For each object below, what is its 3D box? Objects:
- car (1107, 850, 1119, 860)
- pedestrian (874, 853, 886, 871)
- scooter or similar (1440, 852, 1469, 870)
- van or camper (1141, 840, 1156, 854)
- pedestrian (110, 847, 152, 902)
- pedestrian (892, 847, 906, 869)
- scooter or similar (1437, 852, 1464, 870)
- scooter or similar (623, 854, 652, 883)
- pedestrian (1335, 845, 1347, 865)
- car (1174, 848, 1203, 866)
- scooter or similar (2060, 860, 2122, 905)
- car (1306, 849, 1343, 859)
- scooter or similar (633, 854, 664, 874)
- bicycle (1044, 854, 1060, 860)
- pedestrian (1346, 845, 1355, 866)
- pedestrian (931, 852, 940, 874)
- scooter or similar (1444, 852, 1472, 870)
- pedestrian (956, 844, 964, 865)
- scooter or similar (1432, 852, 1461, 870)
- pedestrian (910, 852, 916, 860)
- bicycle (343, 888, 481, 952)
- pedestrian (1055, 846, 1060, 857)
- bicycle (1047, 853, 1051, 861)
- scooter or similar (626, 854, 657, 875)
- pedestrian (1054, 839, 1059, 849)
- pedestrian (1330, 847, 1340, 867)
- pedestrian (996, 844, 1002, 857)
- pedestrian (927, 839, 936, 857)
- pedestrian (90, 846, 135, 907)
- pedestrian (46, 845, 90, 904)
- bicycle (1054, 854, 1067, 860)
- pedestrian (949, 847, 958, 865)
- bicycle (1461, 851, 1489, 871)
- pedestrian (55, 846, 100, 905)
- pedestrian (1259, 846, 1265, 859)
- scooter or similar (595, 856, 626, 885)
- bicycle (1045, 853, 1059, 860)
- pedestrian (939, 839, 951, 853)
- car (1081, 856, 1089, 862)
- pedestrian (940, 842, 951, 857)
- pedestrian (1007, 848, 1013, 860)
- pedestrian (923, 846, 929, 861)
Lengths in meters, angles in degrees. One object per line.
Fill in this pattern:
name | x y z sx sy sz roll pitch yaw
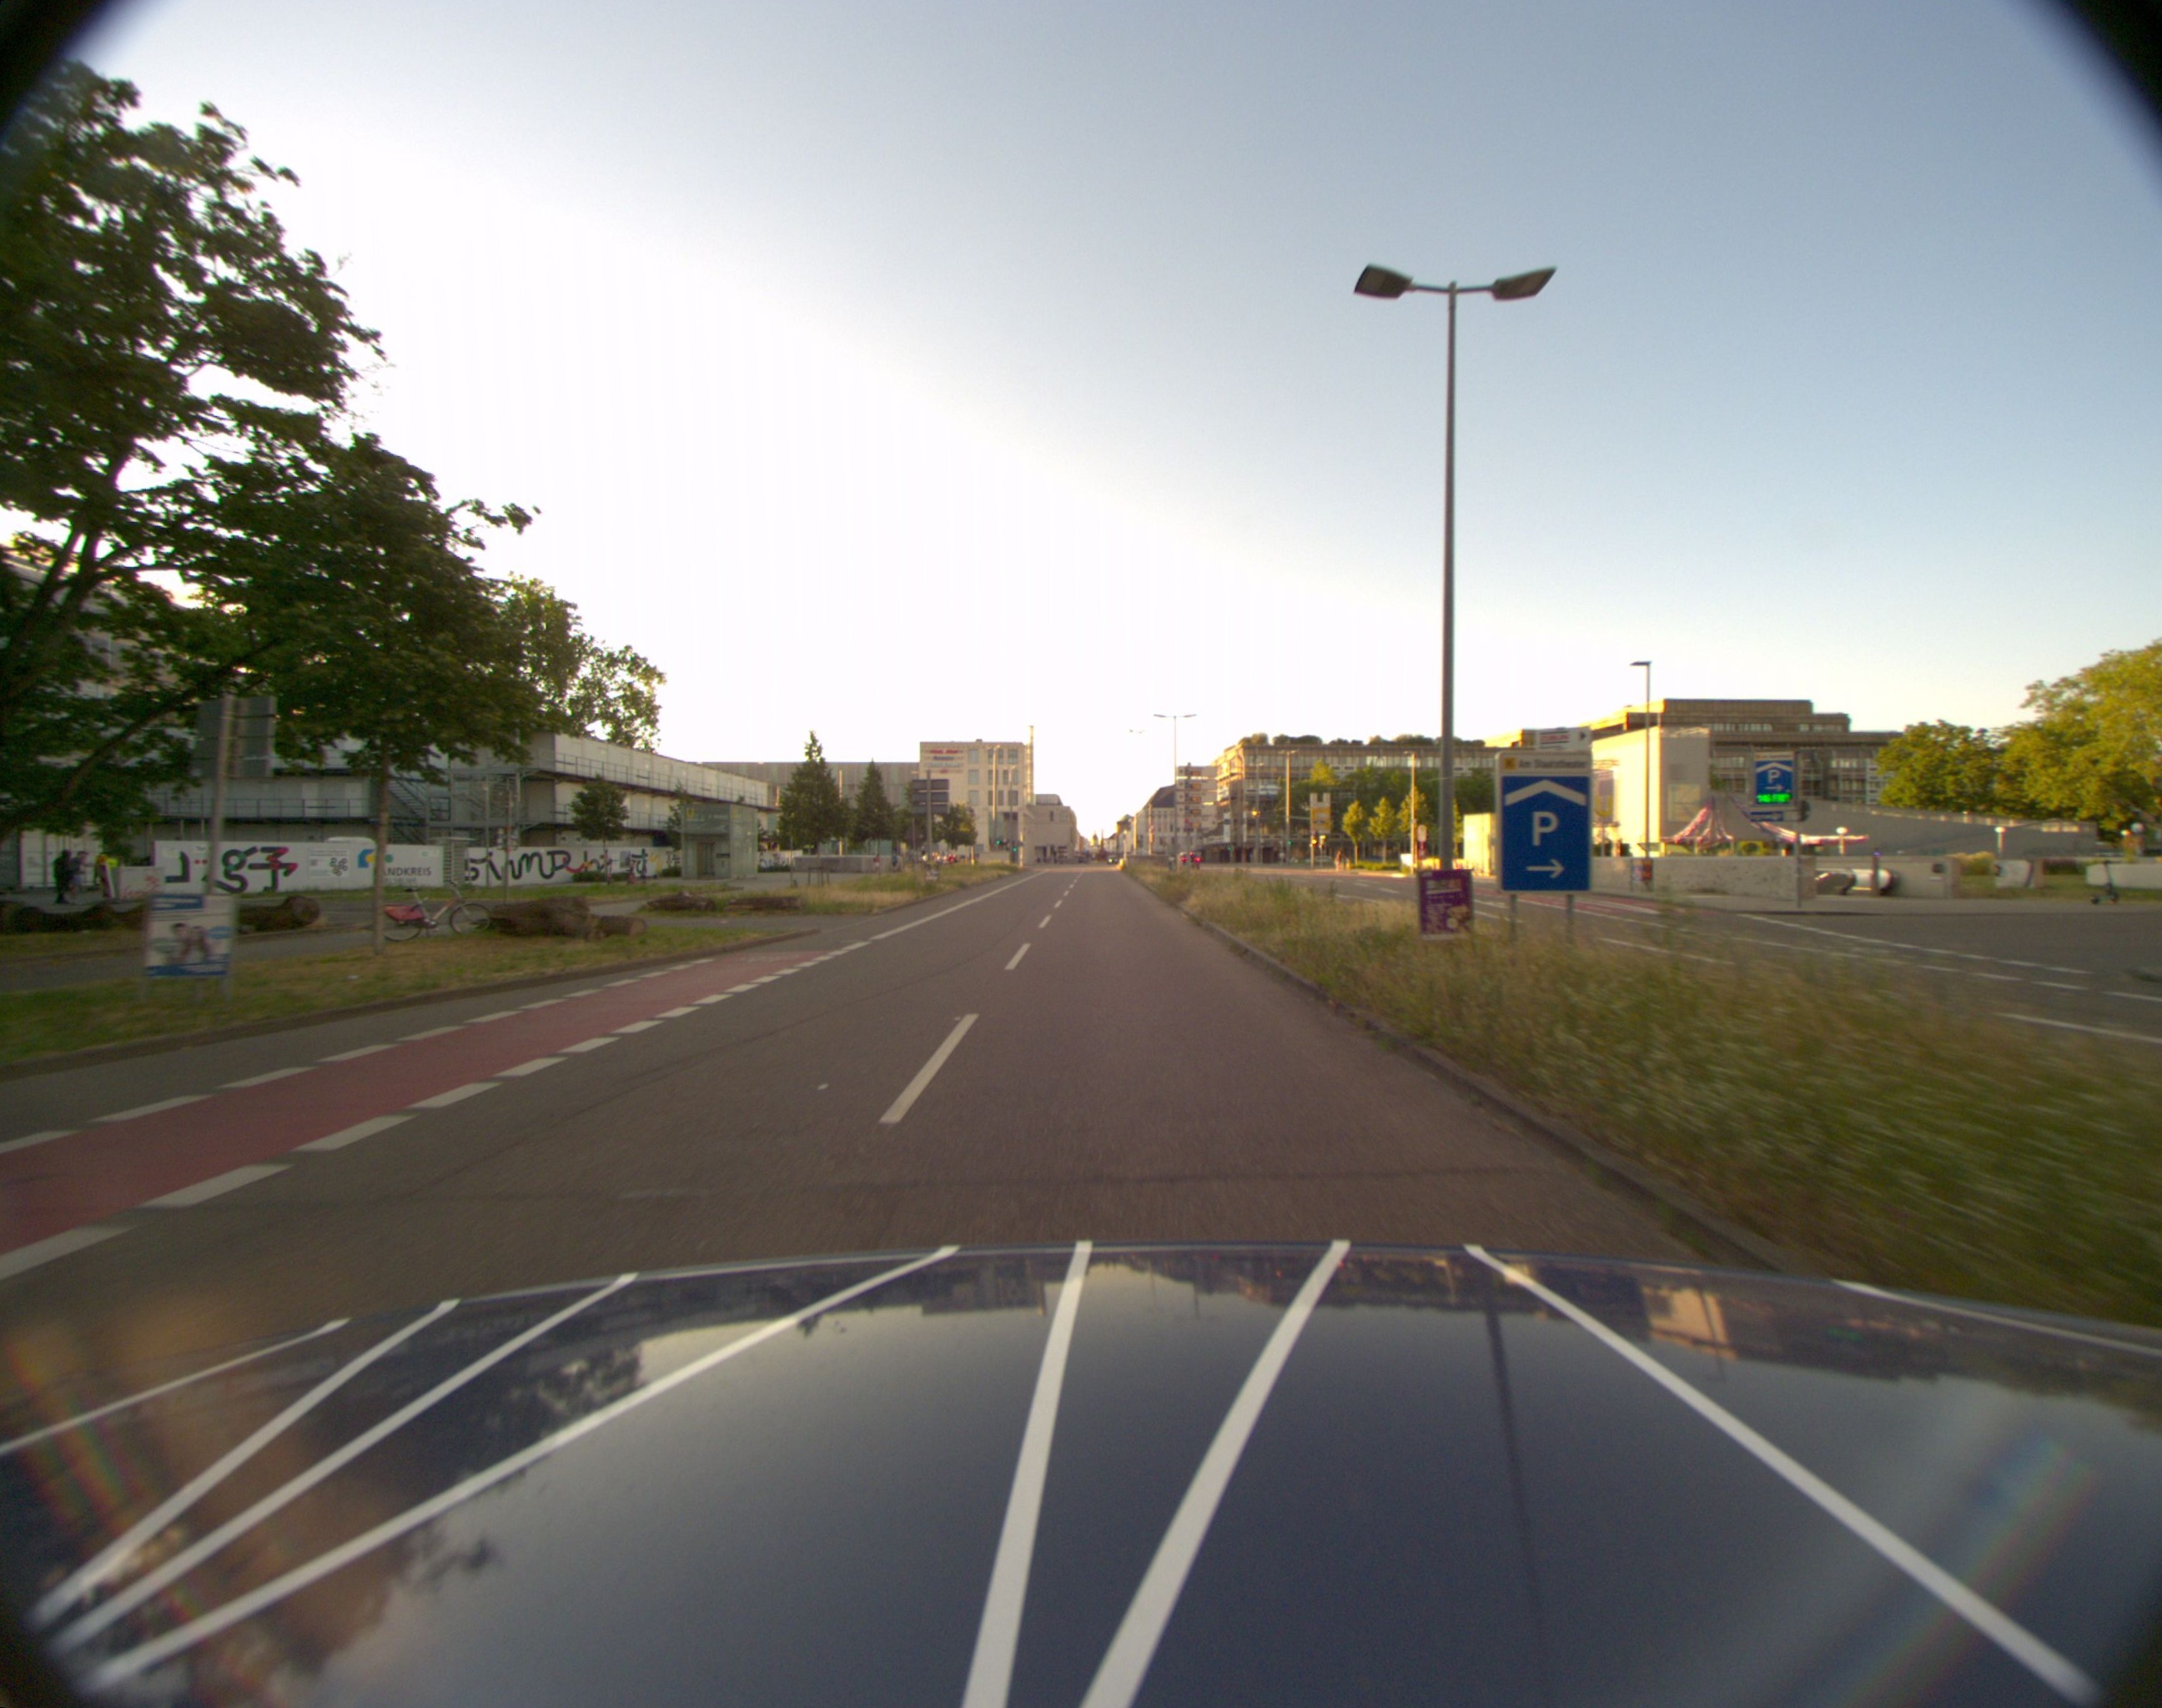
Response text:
car | 5.824 0.182 138.182 2.071 1.642 3.999 0 2 2
pedestrian | -16.035 0.645 60.713 0.762 1.482 0.645 0 -1 2
scooter or similar | 26.669 0.497 54.259 1.836 1.298 0.423 0 1 -5
van or camper | 13.647 -1.396 153.199 2.232 2.650 6.161 0 0 -3
pedestrian | -31.800 0.683 25.441 0.768 1.810 0.601 0 1 16
pedestrian | -15.169 0.327 63.225 0.816 1.804 1.047 0 0 6
scooter or similar | 26.643 0.497 54.742 1.793 1.298 0.417 0 1 -5
scooter or similar | -19.691 0.635 33.768 0.424 1.213 1.398 3 1 1
pedestrian | 24.357 0.075 71.066 0.874 1.826 0.776 0 1 2
car | 9.339 0.247 66.519 1.891 1.457 4.537 0 1 0
scooter or similar | 28.793 0.802 21.662 1.568 1.217 0.545 0 1 -18
car | 37.540 0.048 117.181 5.160 1.576 2.000 0 0 0
scooter or similar | -26.557 0.612 46.637 1.573 1.213 0.474 -2 1 -1
bicycle | -5.342 0.529 138.750 2.804 1.209 0.765 0 0 10
pedestrian | 25.233 0.170 71.206 0.661 1.922 0.648 0 0 2
pedestrian | -13.123 0.790 68.683 0.644 1.922 0.619 0 2 3
scooter or similar | 26.701 0.497 53.817 1.841 1.298 0.423 0 1 -5
pedestrian | -11.123 0.043 69.764 0.644 1.922 0.619 0 1 1
scooter or similar | 26.578 0.484 55.248 1.863 1.298 0.500 0 1 -5
pedestrian | -20.782 0.238 93.858 0.650 0.958 0.654 0 1 -5
bicycle | -12.357 1.179 14.117 0.494 1.000 1.901 3 1 21
pedestrian | -3.959 -0.414 128.512 0.764 1.696 0.834 0 0 -1
bicycle | -5.761 0.561 136.574 0.619 1.316 2.509 0 1 -1
scooter or similar | -26.498 0.635 45.821 1.573 1.213 0.474 -2 1 -1
pedestrian | -4.139 -1.745 130.383 0.764 1.696 0.834 0 0 3
pedestrian | 24.134 0.311 72.147 0.633 1.922 0.775 0 1 -4
pedestrian | -10.491 -0.421 97.494 0.644 1.720 0.871 0 1 3
pedestrian | -13.959 -0.570 70.734 0.644 1.702 0.763 0 0 4
pedestrian | -30.730 0.691 24.111 0.768 1.908 0.601 0 1 16
pedestrian | -32.989 0.651 24.746 0.768 1.890 0.601 0 1 16
bicycle | -3.935 0.575 148.517 2.507 1.316 0.619 0 1 0
pedestrian | -12.392 0.194 73.893 0.644 1.703 0.871 0 1 1
bicycle | 26.848 0.487 51.814 0.619 1.316 2.509 0 1 -1
pedestrian | -32.073 0.667 24.294 0.768 1.845 0.601 0 1 16
pedestrian | 25.677 -0.202 107.807 0.644 1.920 0.681 0 1 -2
scooter or similar | -20.867 0.714 33.704 0.474 1.213 1.573 2 1 -6
bicycle | -5.470 0.518 143.828 2.507 1.316 0.619 0 1 0
pedestrian | -16.989 -0.967 94.887 0.868 1.715 1.009 4 2 27
car | 1.074 1.319 207.177 2.071 1.641 4.000 0 0 2
pedestrian | -17.140 -0.627 96.057 0.892 1.844 1.007 3 2 13
pedestrian | -9.128 -0.001 97.787 0.644 1.650 0.871 0 1 3
pedestrian | -19.265 -0.082 94.592 0.604 1.843 0.586 0 1 5
